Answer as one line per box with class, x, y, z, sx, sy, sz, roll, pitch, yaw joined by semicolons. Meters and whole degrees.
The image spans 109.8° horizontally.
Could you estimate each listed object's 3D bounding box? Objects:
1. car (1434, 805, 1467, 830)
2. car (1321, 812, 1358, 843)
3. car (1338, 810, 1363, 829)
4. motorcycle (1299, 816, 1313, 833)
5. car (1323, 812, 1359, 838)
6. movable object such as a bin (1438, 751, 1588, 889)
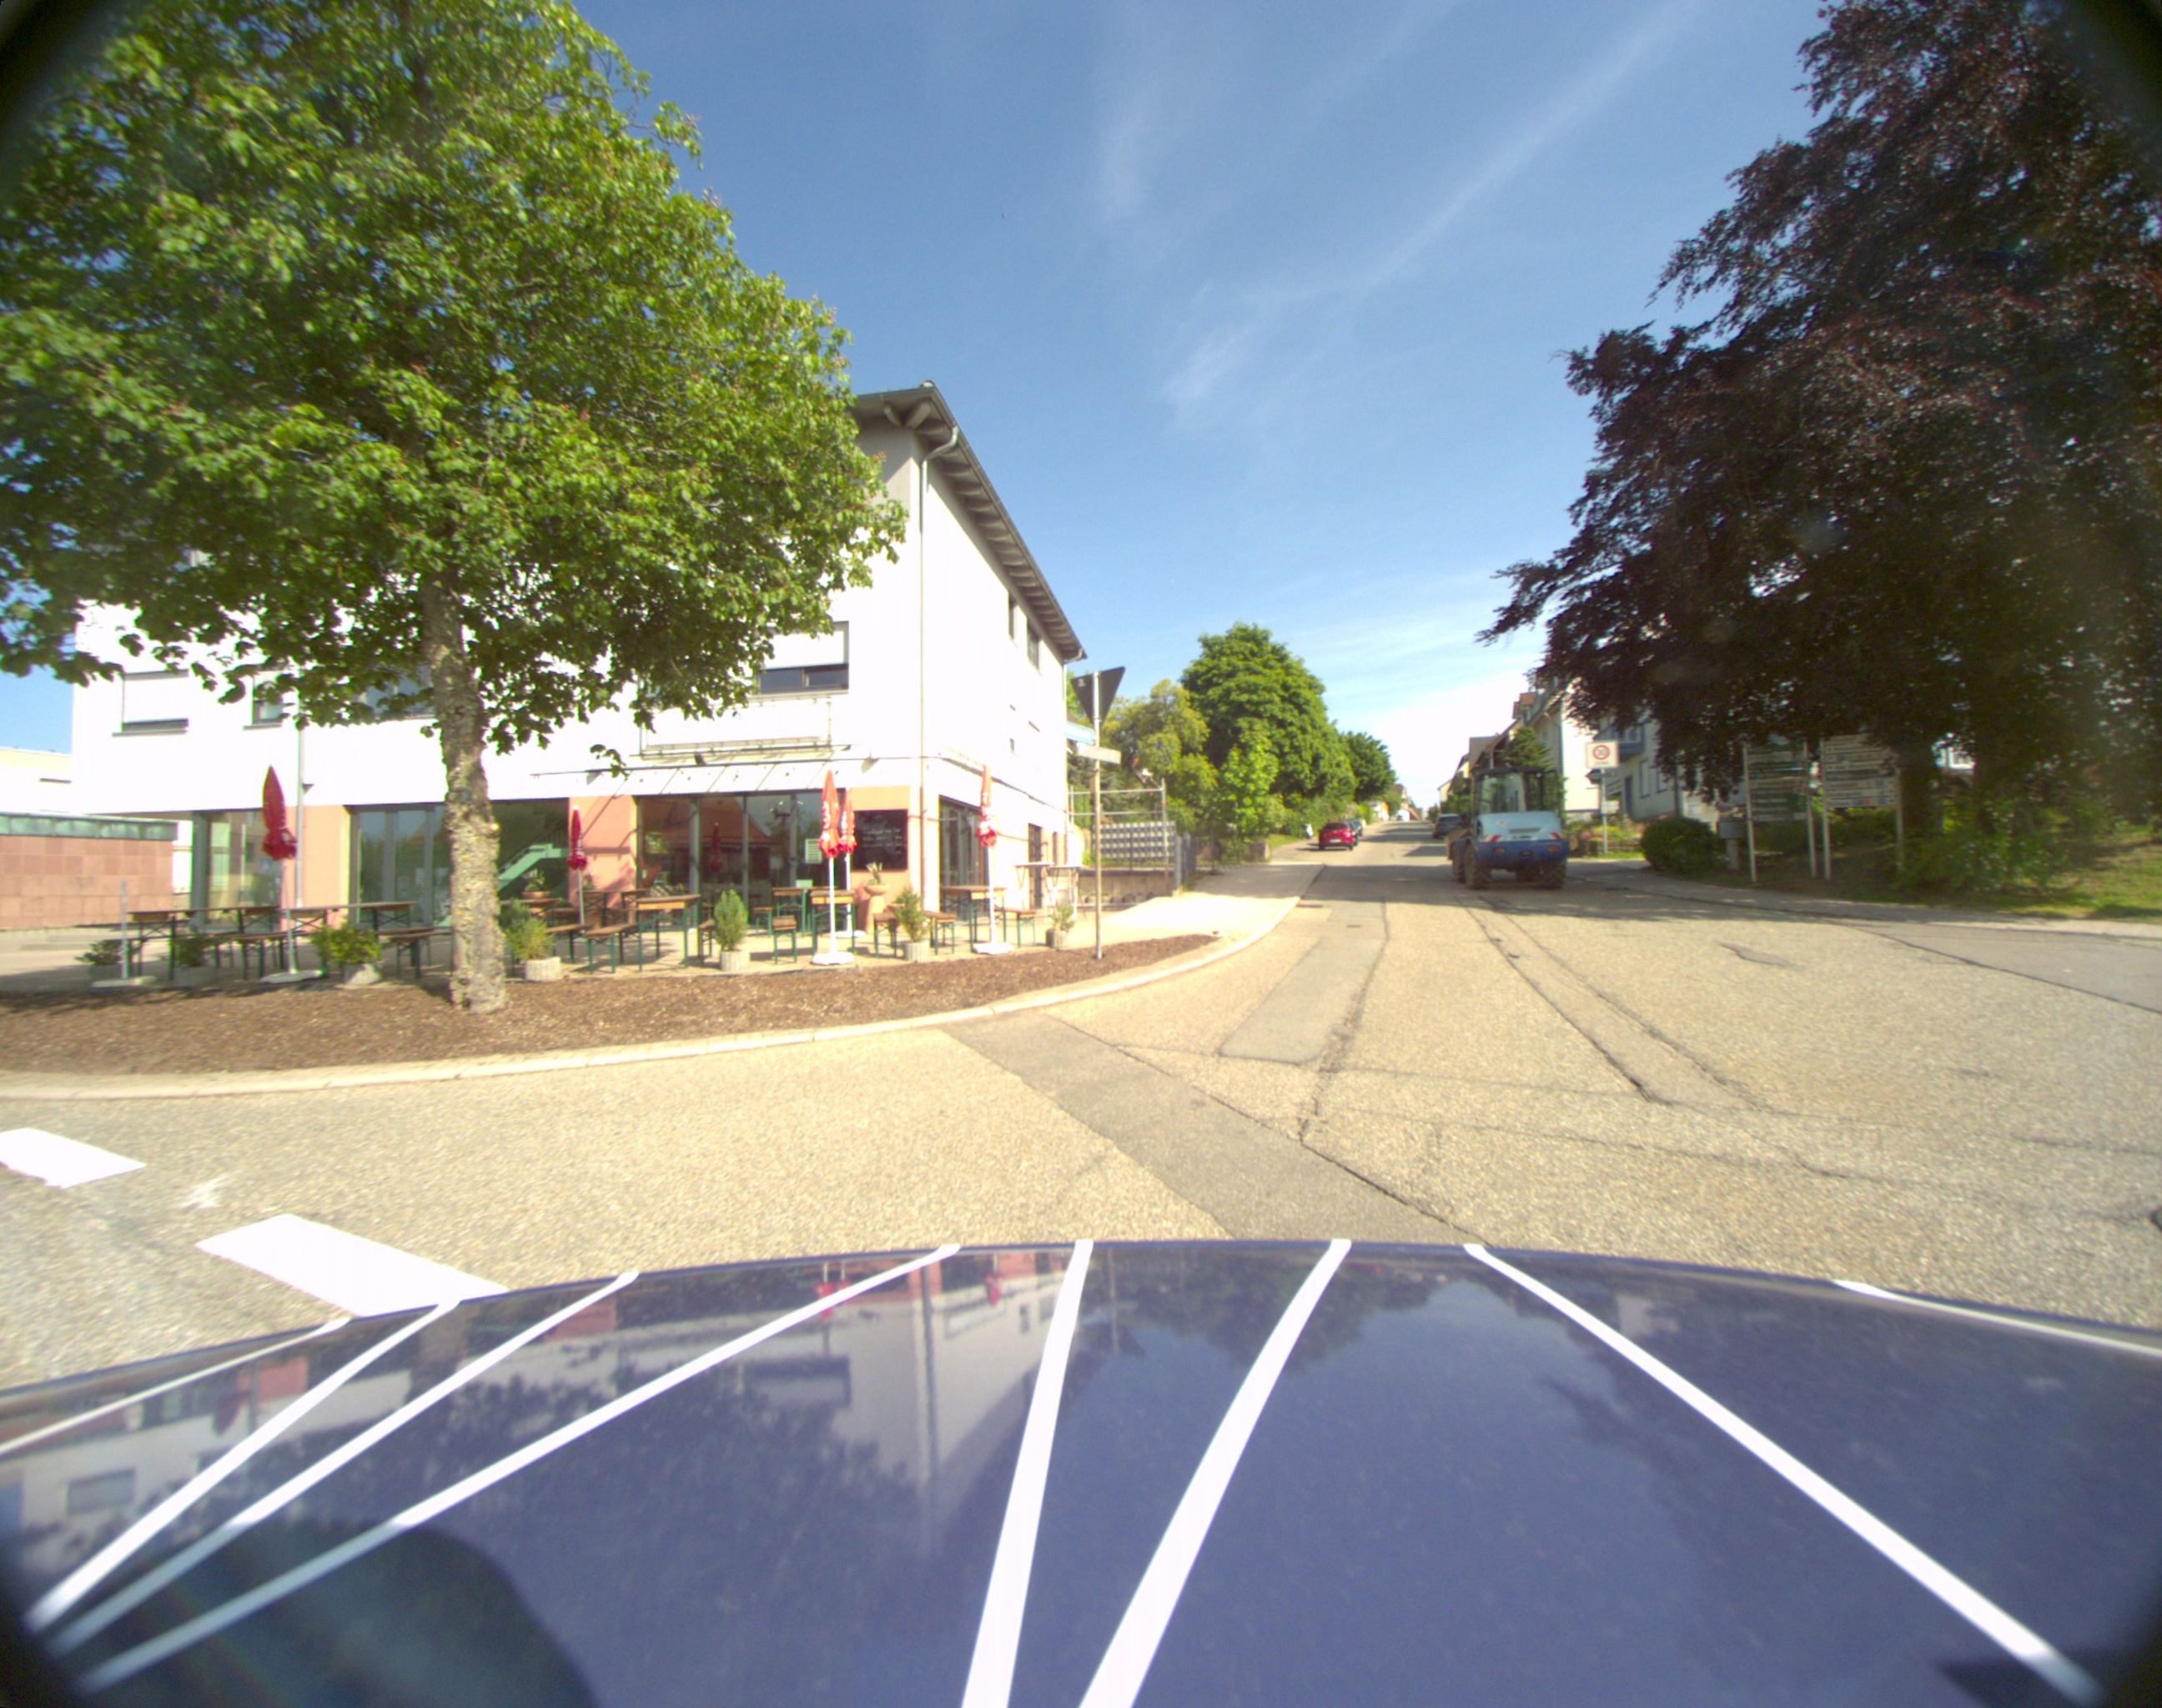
car;25.531;-2.533;52.630;1.805;1.593;3.815;-1;3;22
car;13.602;-1.431;39.939;1.621;1.490;3.815;-1;3;22
car;22.173;-2.864;62.534;1.772;1.462;3.815;-1;3;22
motorcycle;16.317;-2.171;55.057;0.784;1.175;2.190;0;3;20
car;15.515;-1.767;45.253;1.772;1.462;3.815;-1;3;22
movable object such as a bin;9.904;-0.806;17.911;1.996;2.754;5.109;0;3;17
